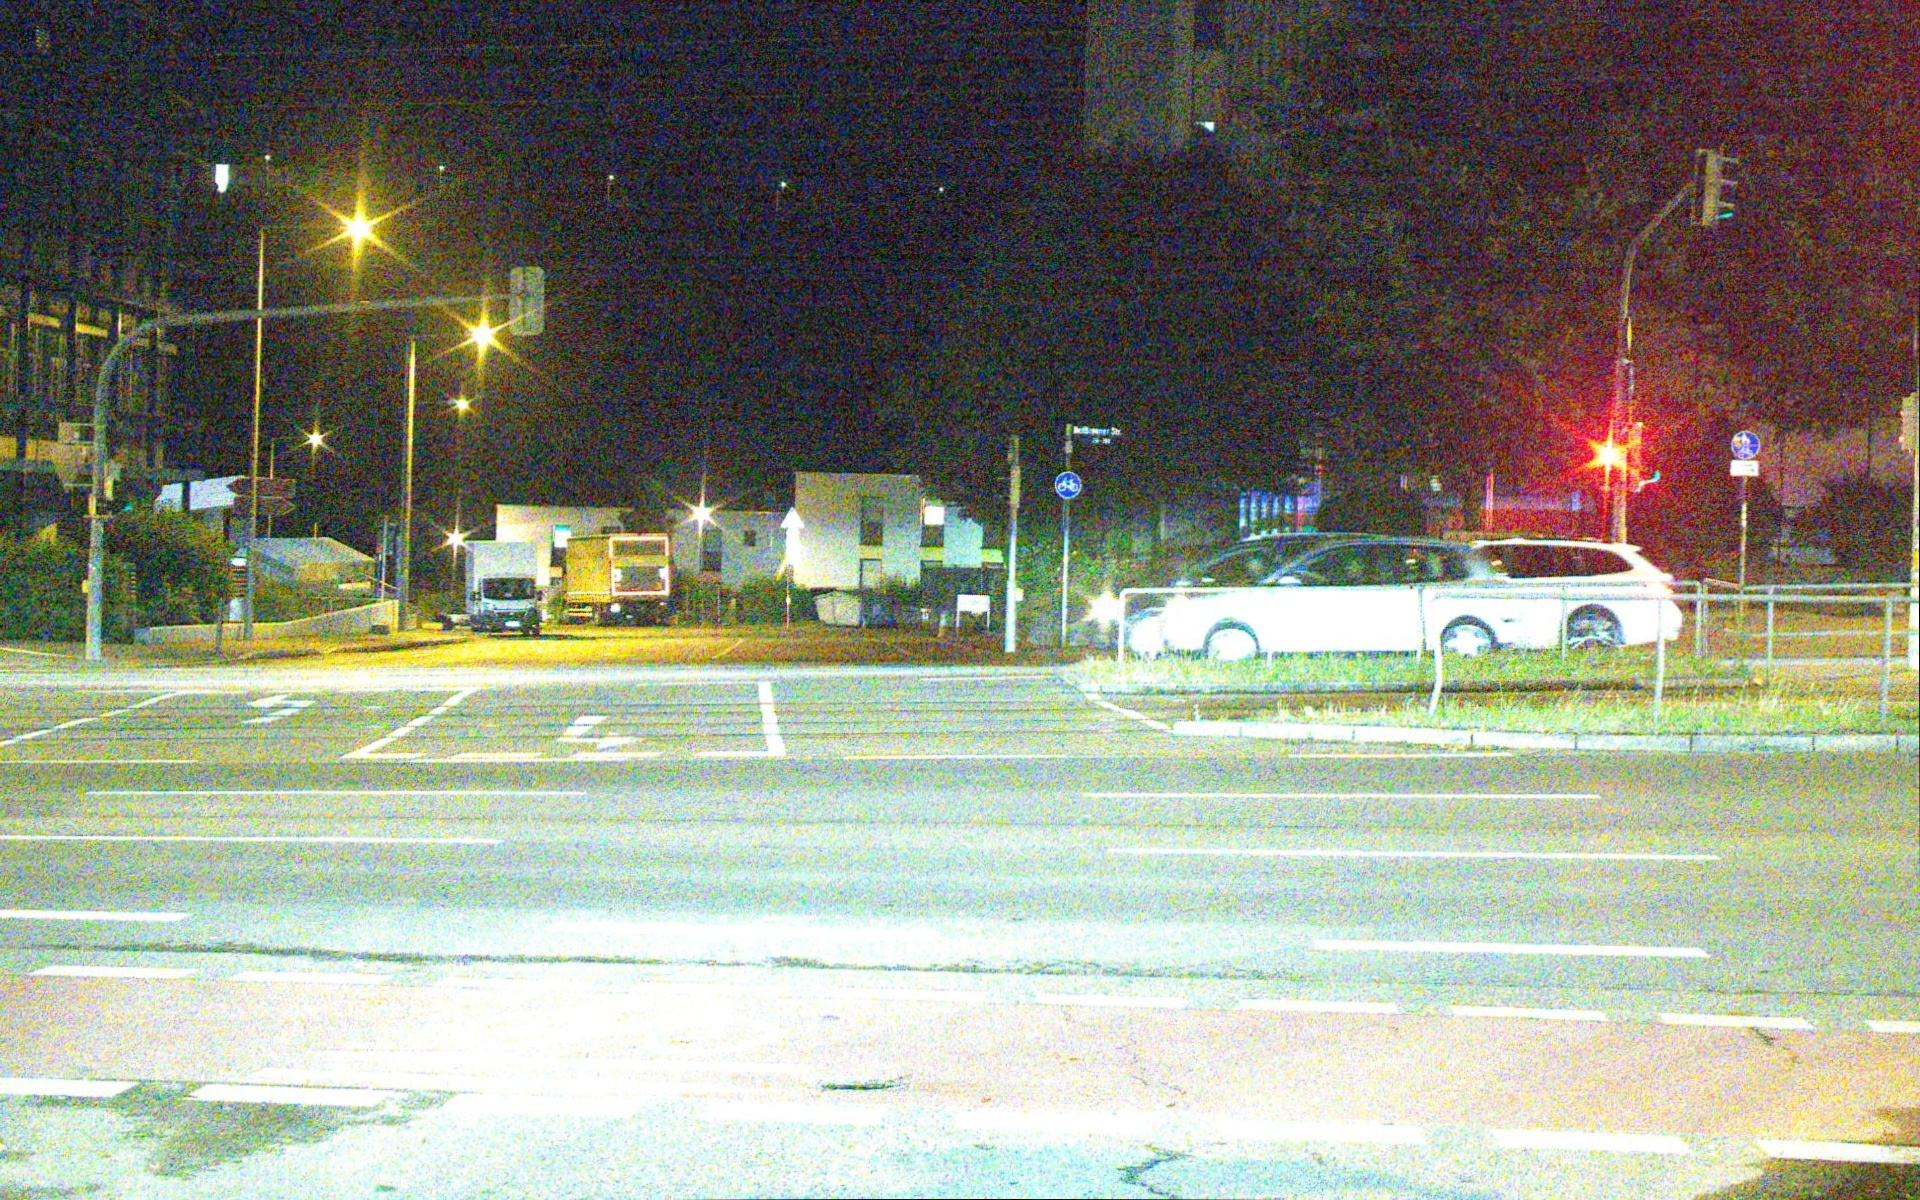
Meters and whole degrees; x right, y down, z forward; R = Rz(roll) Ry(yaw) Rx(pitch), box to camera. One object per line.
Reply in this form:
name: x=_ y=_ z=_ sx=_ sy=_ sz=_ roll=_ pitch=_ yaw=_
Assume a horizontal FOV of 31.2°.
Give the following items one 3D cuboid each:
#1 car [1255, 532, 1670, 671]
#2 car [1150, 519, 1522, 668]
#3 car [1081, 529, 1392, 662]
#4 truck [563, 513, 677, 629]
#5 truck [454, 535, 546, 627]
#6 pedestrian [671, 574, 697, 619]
car: x=5.759 y=-0.002 z=39.797 sx=4.575 sy=1.481 sz=1.779 roll=1 pitch=1 yaw=3
car: x=3.985 y=-0.070 z=36.915 sx=3.835 sy=1.481 sz=1.869 roll=1 pitch=0 yaw=3
car: x=3.486 y=-0.074 z=43.251 sx=3.820 sy=1.625 sz=1.811 roll=0 pitch=1 yaw=6
truck: x=-14.777 y=-1.253 z=148.833 sx=3.359 sy=4.826 sz=7.908 roll=1 pitch=0 yaw=-17
truck: x=-16.044 y=-0.658 z=119.604 sx=2.417 sy=3.078 sz=6.439 roll=1 pitch=0 yaw=-14
pedestrian: x=-11.858 y=-0.155 z=147.519 sx=0.849 sy=1.905 sz=1.007 roll=1 pitch=0 yaw=-18
